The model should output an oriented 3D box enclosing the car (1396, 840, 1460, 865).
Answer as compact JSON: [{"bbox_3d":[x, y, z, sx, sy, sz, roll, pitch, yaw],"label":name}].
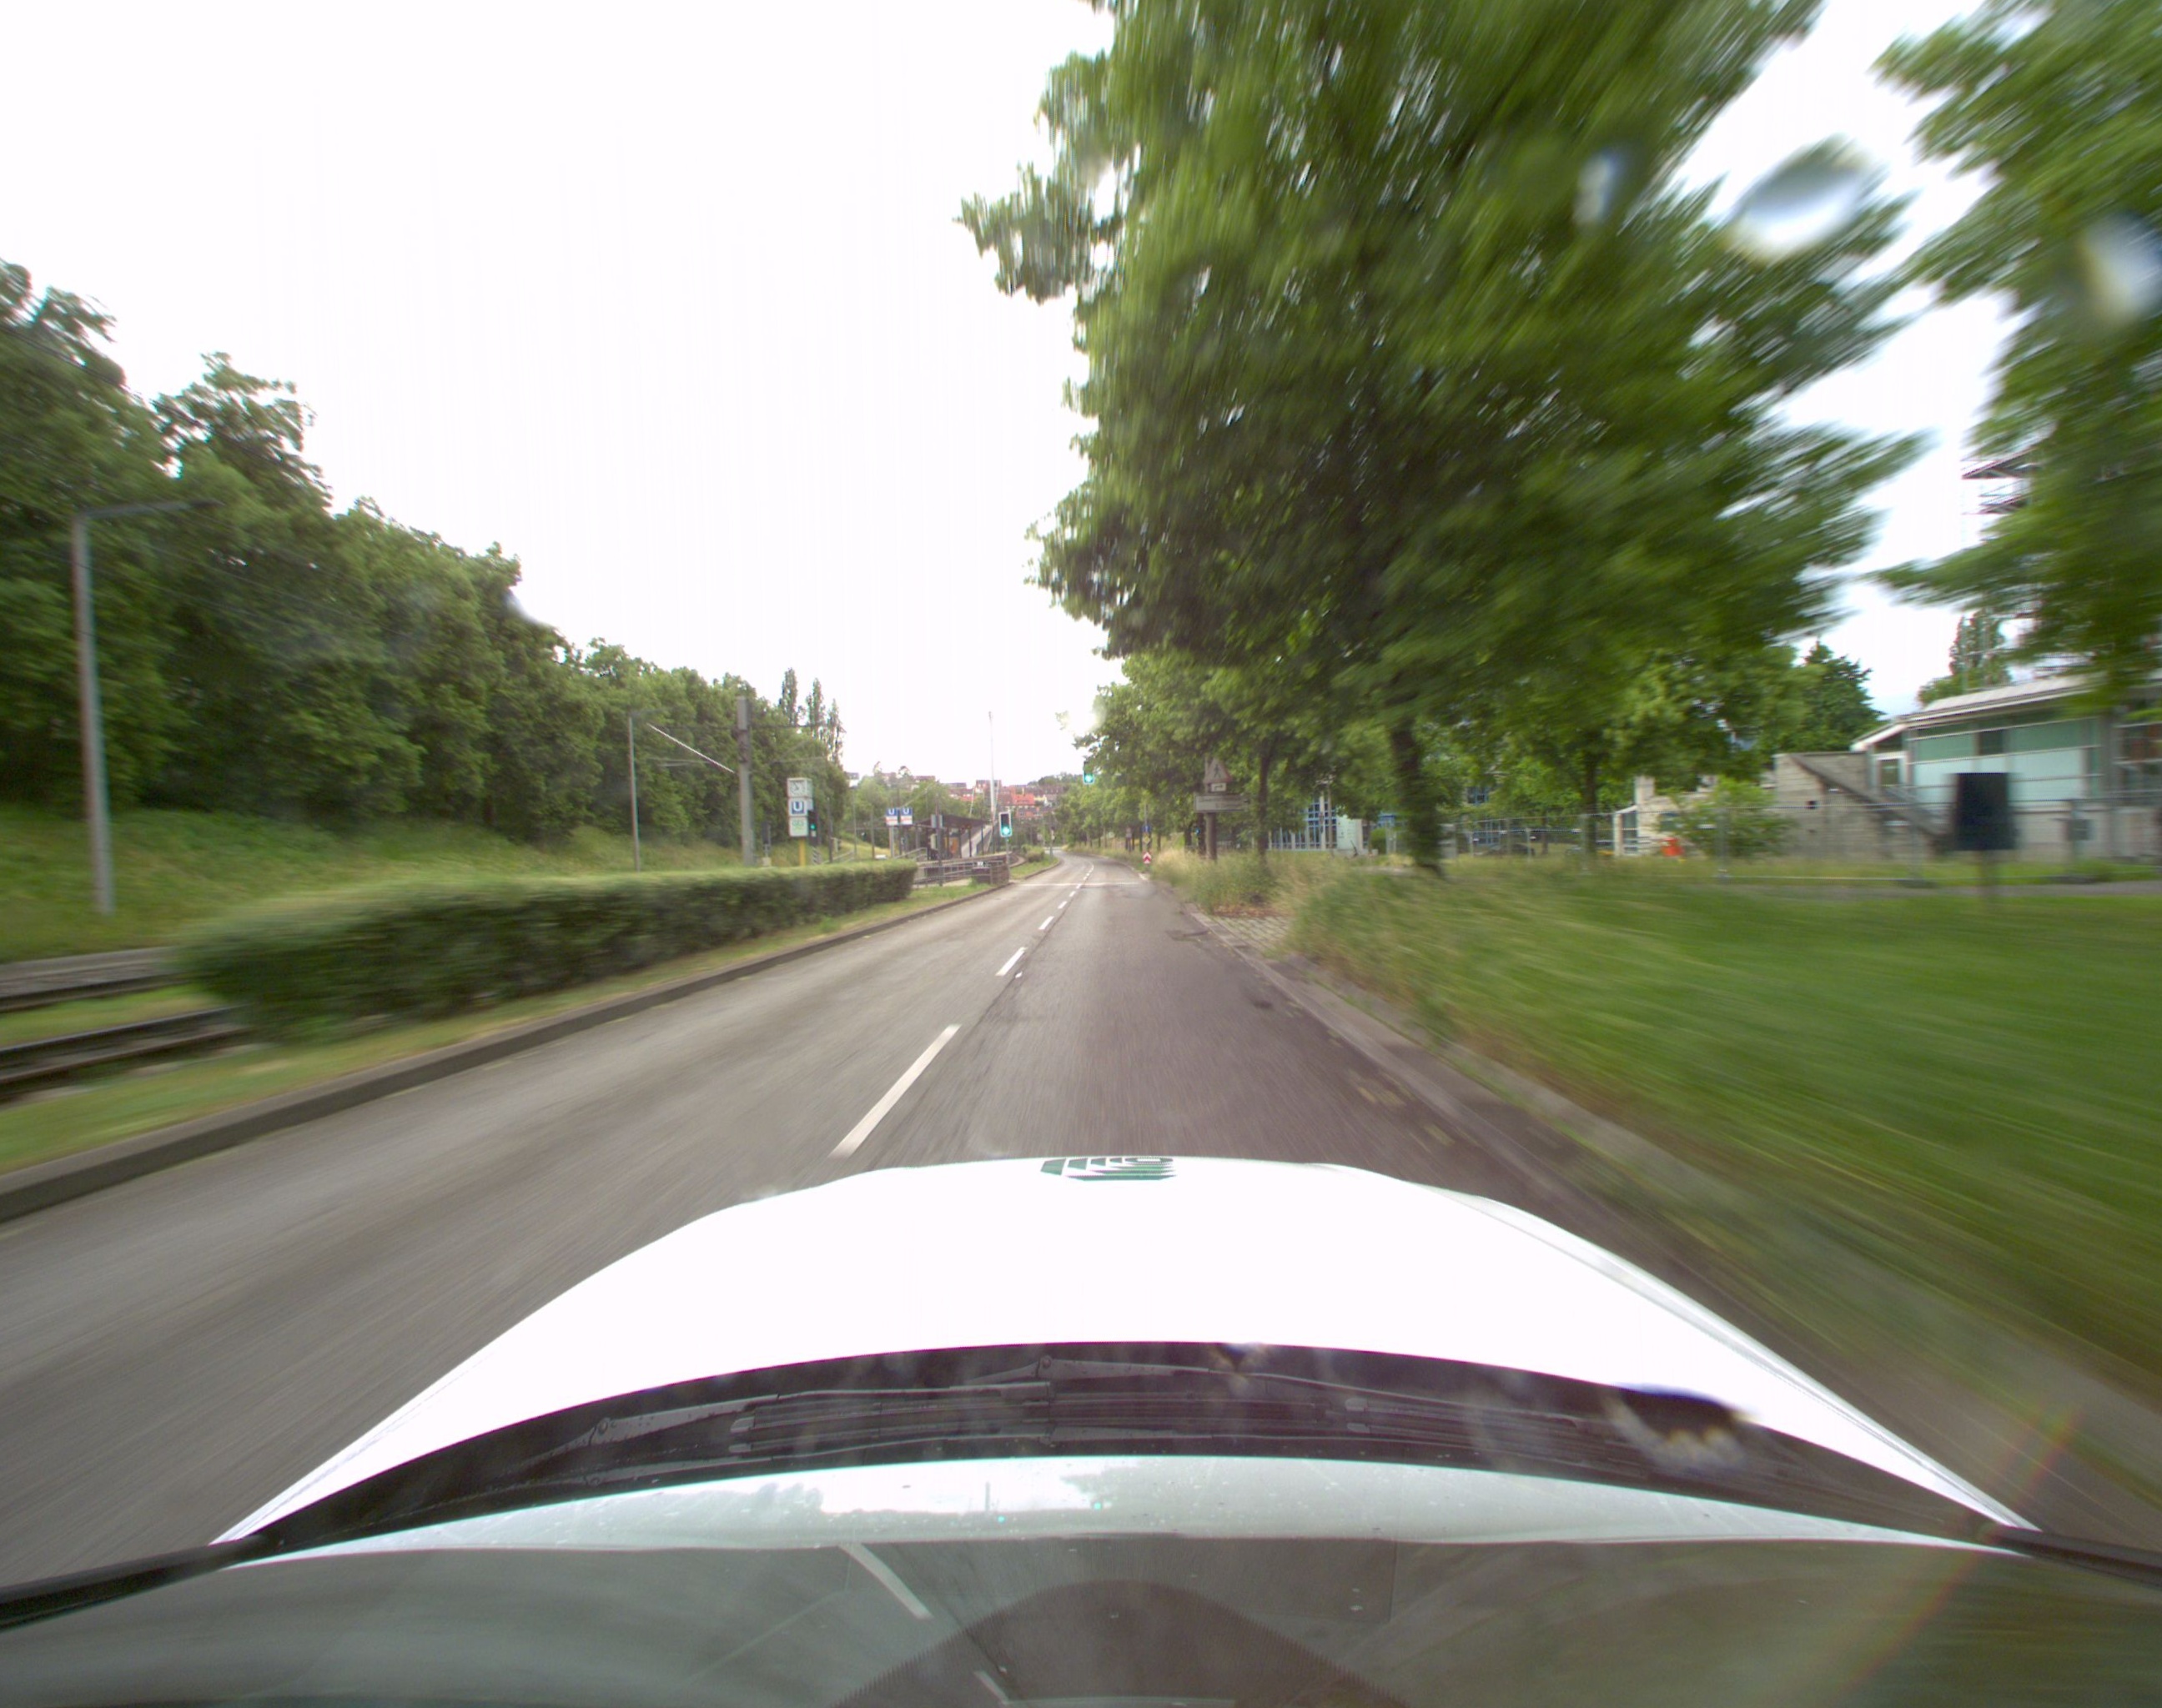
[{"bbox_3d":[26.197,-0.117,61.607,4.076,1.641,1.761,-2,2,6],"label":"car"}]

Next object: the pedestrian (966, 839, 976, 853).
[{"bbox_3d":[-12.516,-0.909,92.597,0.932,1.611,1.026,-1,0,-2],"label":"pedestrian"}]

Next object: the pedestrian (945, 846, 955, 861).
[{"bbox_3d":[-11.669,-0.046,72.513,0.751,1.355,0.691,-1,0,-2],"label":"pedestrian"}]

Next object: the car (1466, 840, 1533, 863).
[{"bbox_3d":[31.428,-0.192,61.252,4.076,1.578,1.761,-2,2,6],"label":"car"}]
